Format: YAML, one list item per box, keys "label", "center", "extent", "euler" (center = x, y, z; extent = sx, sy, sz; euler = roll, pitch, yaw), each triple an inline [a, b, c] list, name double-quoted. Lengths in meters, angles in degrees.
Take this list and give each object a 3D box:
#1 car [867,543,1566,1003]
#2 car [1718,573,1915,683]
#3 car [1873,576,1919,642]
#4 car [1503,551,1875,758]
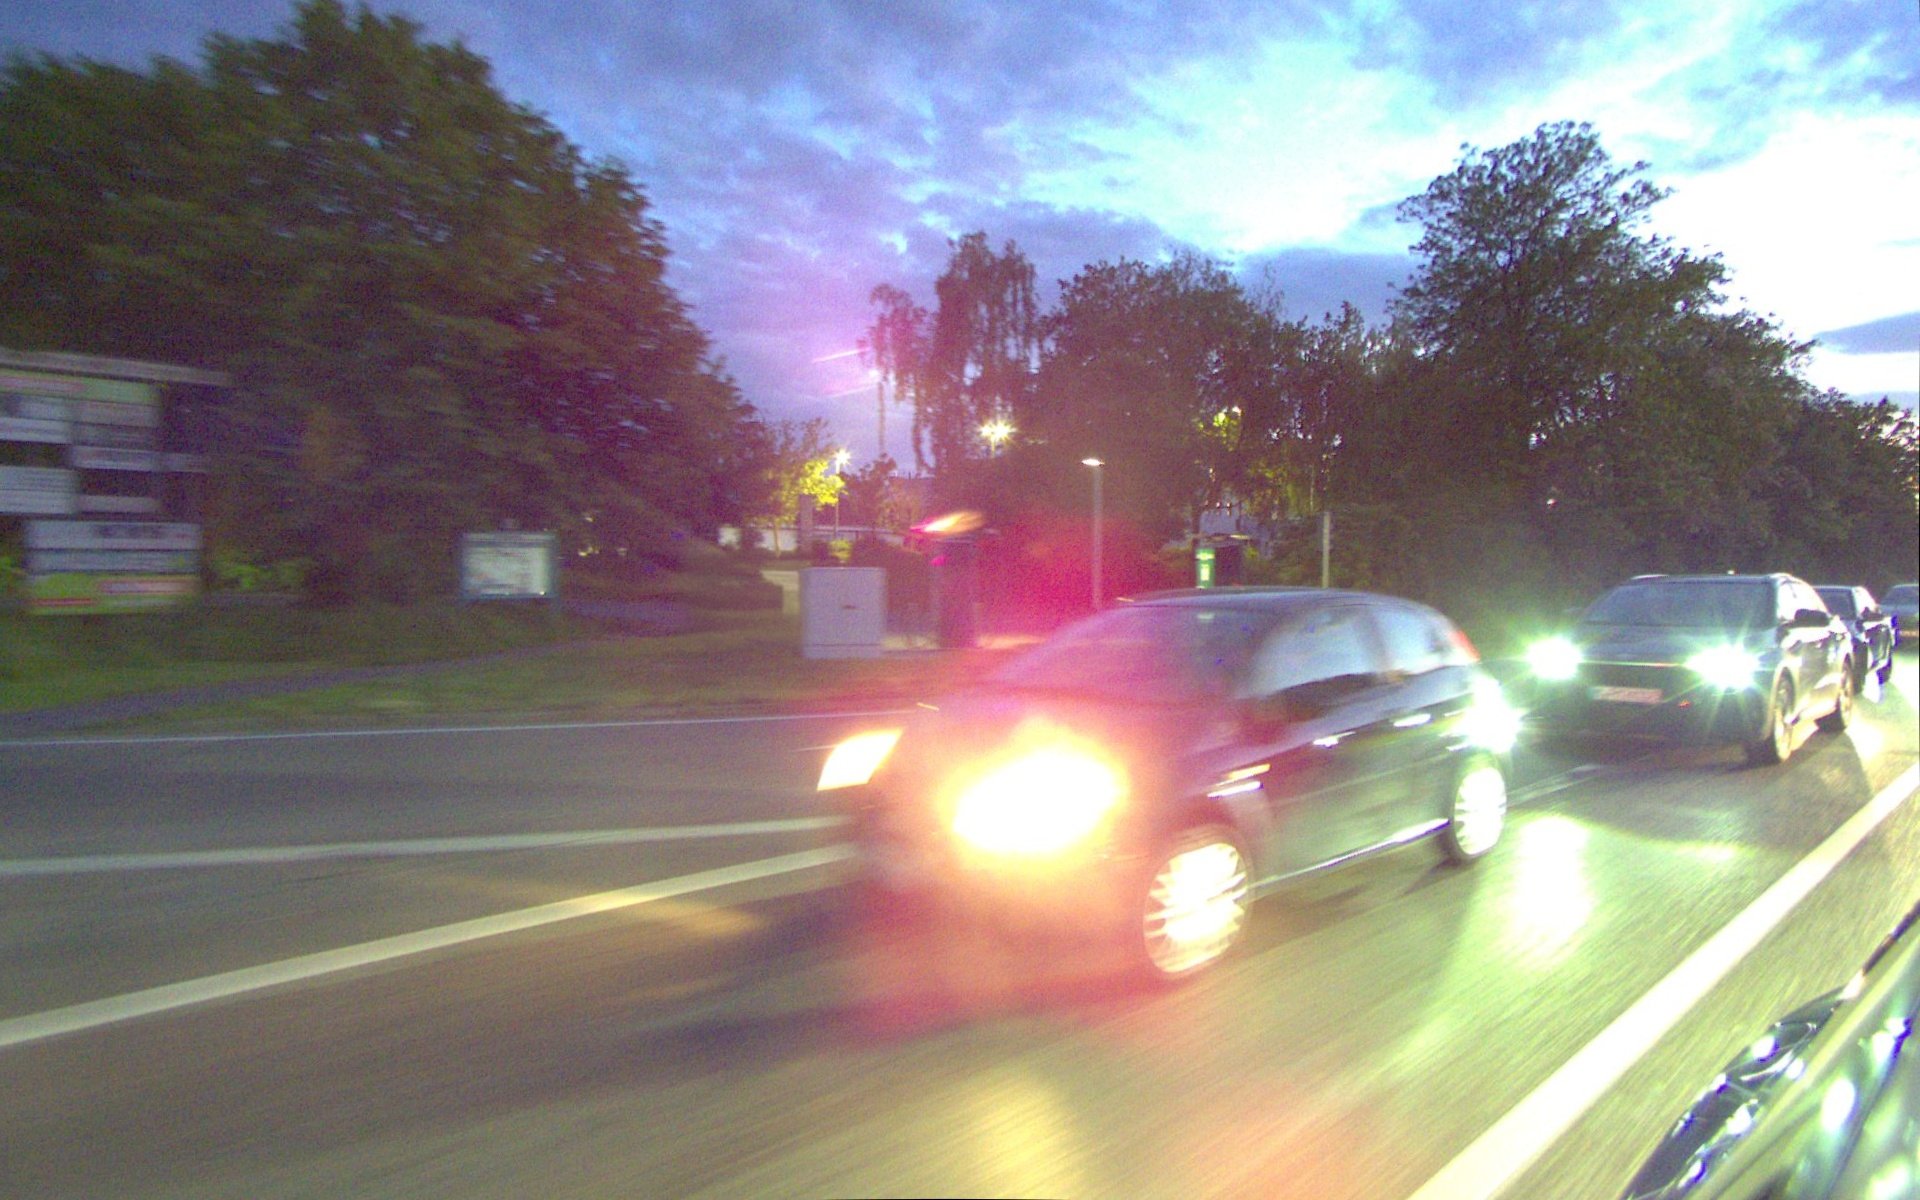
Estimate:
- label: "car"
  center: [1.505, 0.598, 5.255]
  extent: [3.648, 1.557, 1.662]
  euler: [0, -2, -40]
- label: "car"
  center: [12.726, 0.344, 14.974]
  extent: [3.688, 1.431, 1.621]
  euler: [0, 1, -40]
- label: "car"
  center: [22.154, 0.162, 22.851]
  extent: [3.931, 1.385, 1.817]
  euler: [-2, 1, -41]
- label: "car"
  center: [7.170, 0.414, 9.802]
  extent: [4.224, 1.577, 1.900]
  euler: [0, -1, -40]
